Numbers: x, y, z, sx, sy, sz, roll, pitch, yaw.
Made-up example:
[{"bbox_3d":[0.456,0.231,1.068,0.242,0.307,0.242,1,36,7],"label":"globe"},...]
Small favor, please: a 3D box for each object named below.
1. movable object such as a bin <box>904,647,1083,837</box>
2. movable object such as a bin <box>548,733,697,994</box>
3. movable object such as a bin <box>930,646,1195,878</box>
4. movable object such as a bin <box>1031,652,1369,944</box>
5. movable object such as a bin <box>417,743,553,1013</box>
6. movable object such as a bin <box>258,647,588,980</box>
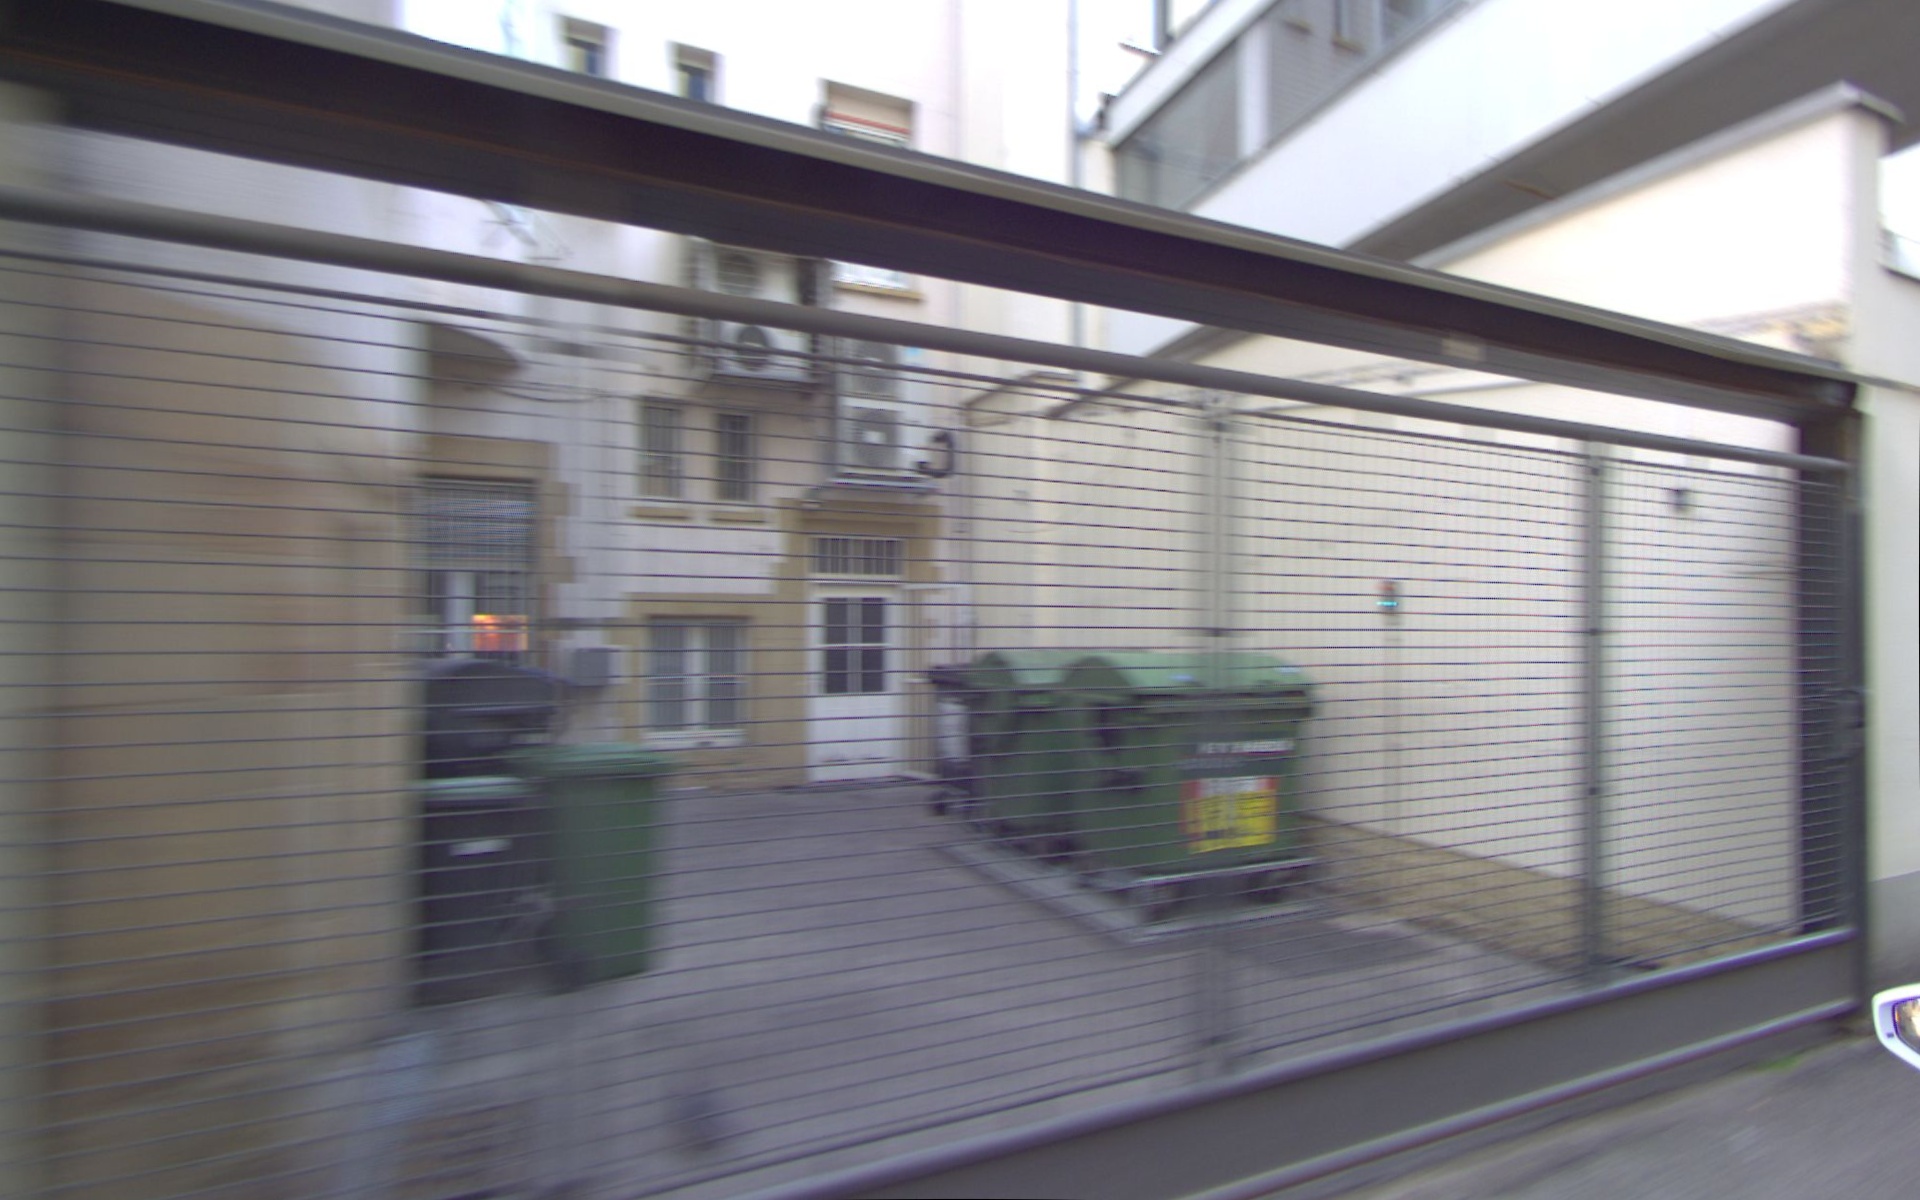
[{"bbox_3d":[0.262,1.123,8.445,1.156,1.443,1.069,1,-2,-24],"label":"movable object such as a bin"},{"bbox_3d":[-1.625,1.208,4.810,0.600,1.061,0.592,1,-2,-26],"label":"movable object such as a bin"},{"bbox_3d":[0.711,1.062,7.167,1.567,1.443,1.069,1,-2,-24],"label":"movable object such as a bin"},{"bbox_3d":[1.383,1.044,5.946,1.567,1.443,1.178,1,-2,-24],"label":"movable object such as a bin"},{"bbox_3d":[-2.161,1.221,4.588,0.518,1.061,0.505,1,-2,-26],"label":"movable object such as a bin"},{"bbox_3d":[-2.843,1.015,5.362,1.276,1.470,1.018,0,-1,28],"label":"movable object such as a bin"}]
